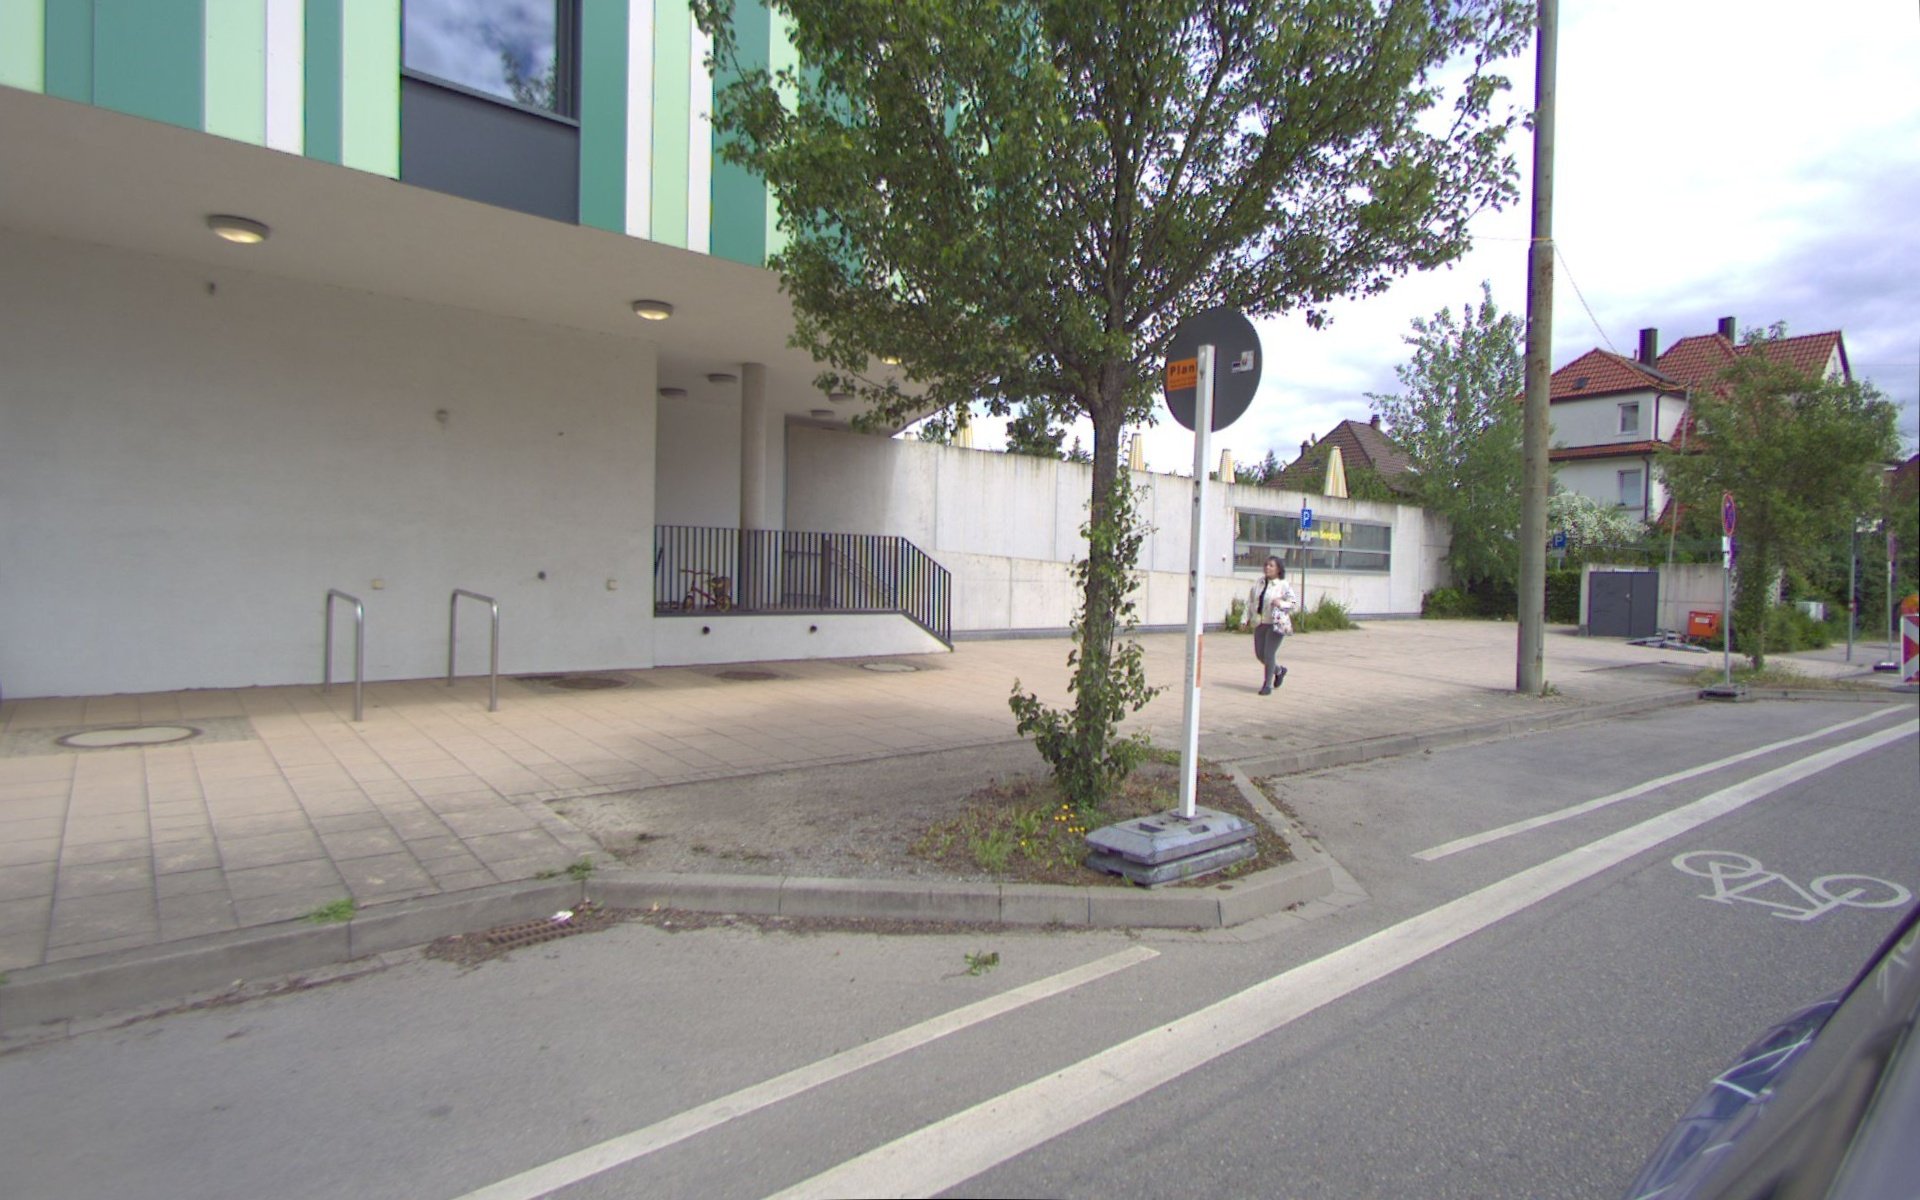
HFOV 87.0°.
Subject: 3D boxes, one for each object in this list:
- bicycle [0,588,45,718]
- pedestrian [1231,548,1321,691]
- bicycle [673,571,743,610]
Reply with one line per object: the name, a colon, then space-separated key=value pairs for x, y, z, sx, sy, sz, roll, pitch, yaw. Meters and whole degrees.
bicycle: x=-6.891 y=0.341 z=7.043 sx=1.011 sy=0.852 sz=0.305 roll=3 pitch=2 yaw=18
pedestrian: x=3.648 y=0.200 z=11.674 sx=0.854 sy=1.570 sz=0.582 roll=0 pitch=2 yaw=-41
bicycle: x=-3.131 y=-0.113 z=12.576 sx=0.784 sy=0.458 sz=0.307 roll=0 pitch=2 yaw=-35
